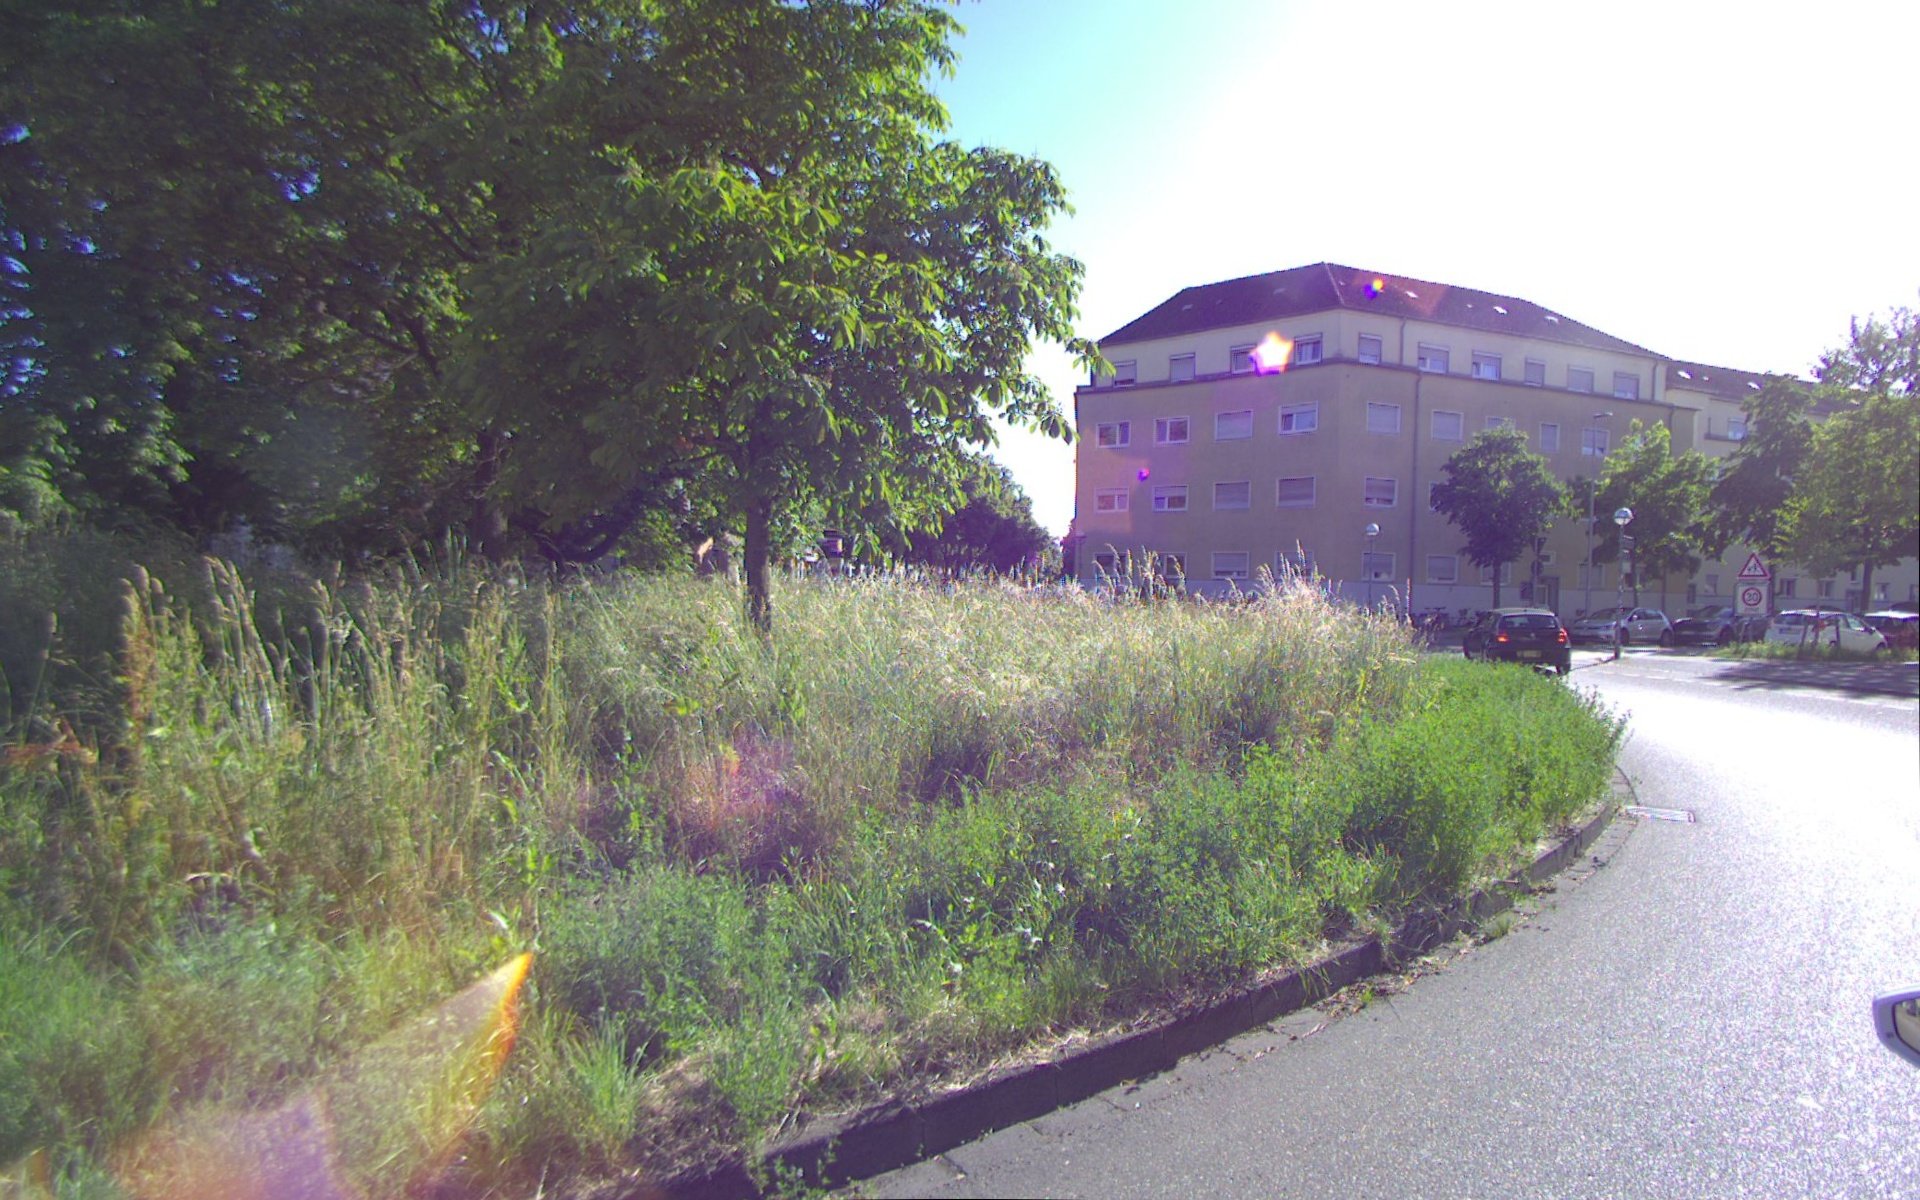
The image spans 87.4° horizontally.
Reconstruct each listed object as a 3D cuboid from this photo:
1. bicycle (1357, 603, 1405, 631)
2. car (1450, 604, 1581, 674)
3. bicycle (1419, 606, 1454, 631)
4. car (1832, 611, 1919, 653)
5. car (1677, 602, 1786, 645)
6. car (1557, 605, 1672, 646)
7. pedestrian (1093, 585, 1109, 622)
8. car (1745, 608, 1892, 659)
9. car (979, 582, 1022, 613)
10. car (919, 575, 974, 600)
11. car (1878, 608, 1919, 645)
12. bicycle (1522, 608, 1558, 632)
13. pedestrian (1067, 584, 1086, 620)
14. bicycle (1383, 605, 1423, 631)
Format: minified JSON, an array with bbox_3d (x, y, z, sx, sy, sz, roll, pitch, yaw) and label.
[{"bbox_3d":[17.371,0.697,41.481,1.763,1.122,0.500,1,1,9],"label":"bicycle"},{"bbox_3d":[12.860,0.836,23.504,1.833,1.438,4.001,0,0,16],"label":"car"},{"bbox_3d":[20.325,0.782,42.836,1.429,1.040,0.497,1,1,-24],"label":"bicycle"},{"bbox_3d":[30.289,1.024,32.477,3.667,1.272,1.790,1,0,-24],"label":"car"},{"bbox_3d":[30.081,0.902,39.166,3.946,1.597,1.788,1,0,-26],"label":"car"},{"bbox_3d":[24.310,0.947,37.284,3.947,1.430,1.792,1,0,-26],"label":"car"},{"bbox_3d":[5.923,0.133,42.194,0.637,1.544,0.697,-1,1,7],"label":"pedestrian"},{"bbox_3d":[26.104,1.022,30.559,3.942,1.432,1.790,1,0,-22],"label":"car"},{"bbox_3d":[2.069,-0.114,50.337,1.697,1.430,4.492,1,0,7],"label":"car"},{"bbox_3d":[-1.125,-1.042,82.536,4.139,2.014,2.161,1,0,43],"label":"car"},{"bbox_3d":[43.813,1.220,45.634,3.946,1.597,1.788,1,0,-26],"label":"car"},{"bbox_3d":[26.016,0.896,45.065,1.424,1.040,0.499,1,1,-11],"label":"bicycle"},{"bbox_3d":[5.114,0.088,44.086,0.809,1.544,0.697,-1,1,4],"label":"pedestrian"},{"bbox_3d":[18.621,0.756,42.247,1.420,1.040,0.500,1,1,9],"label":"bicycle"}]
